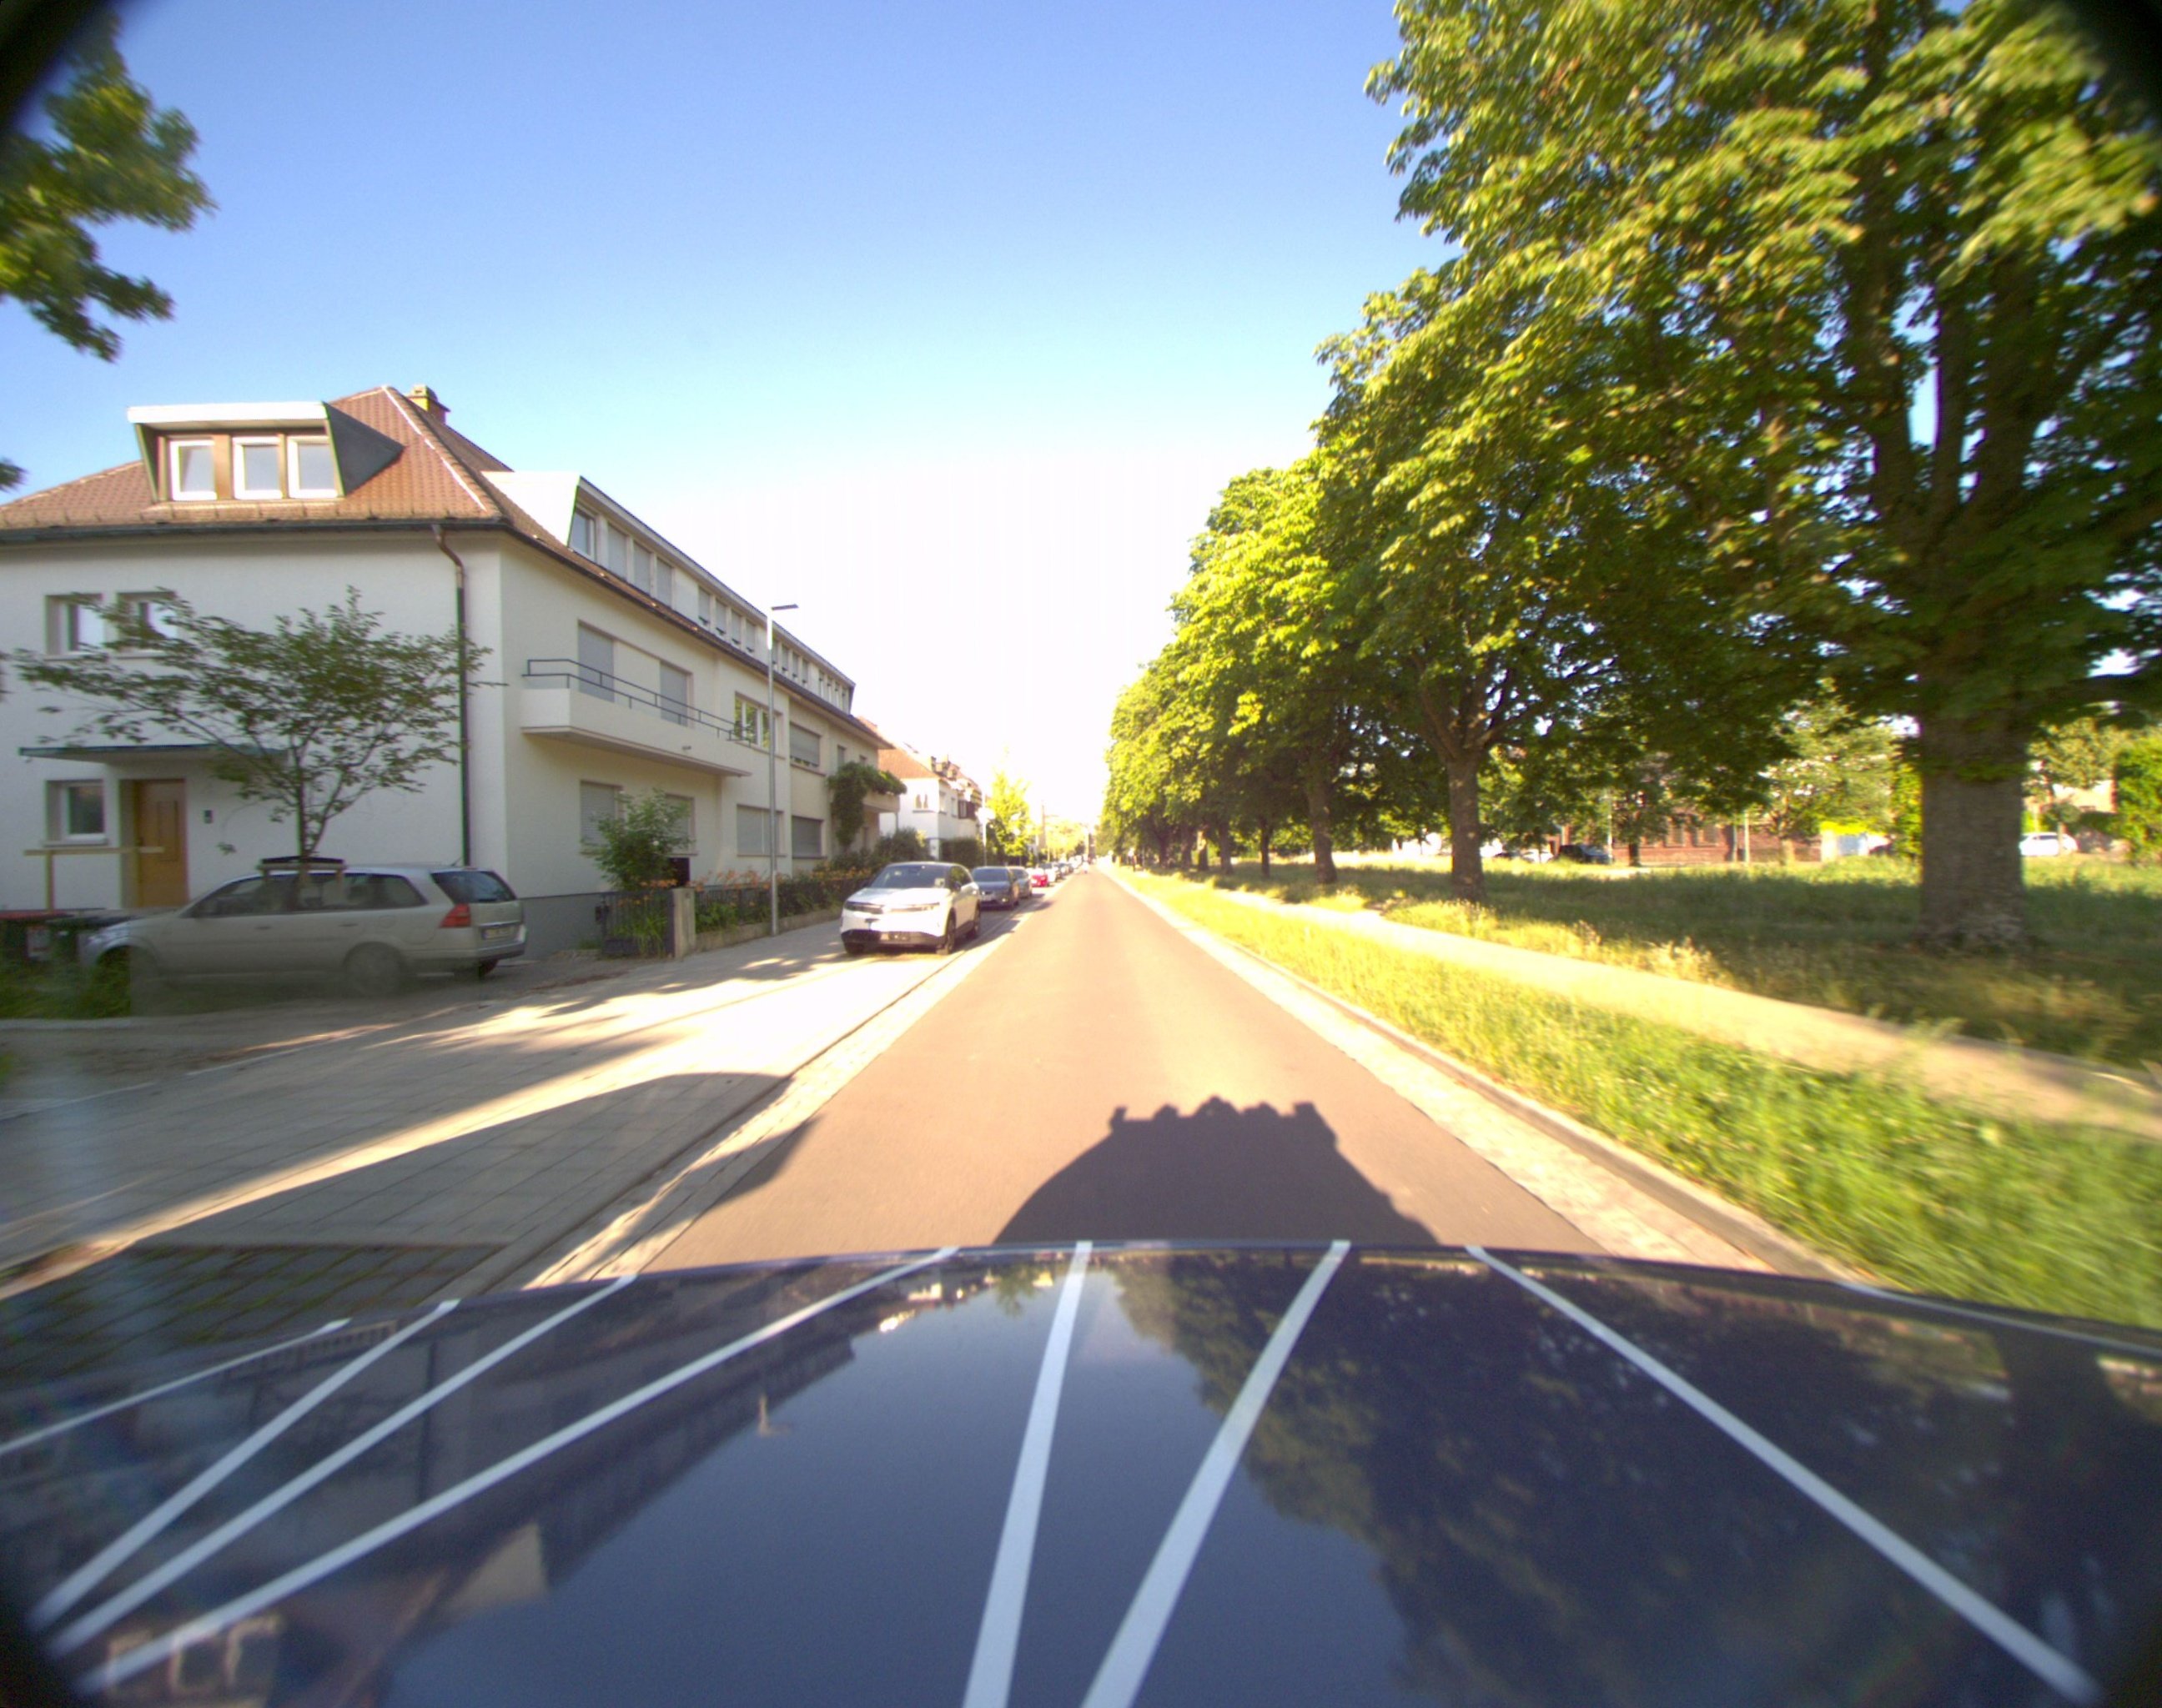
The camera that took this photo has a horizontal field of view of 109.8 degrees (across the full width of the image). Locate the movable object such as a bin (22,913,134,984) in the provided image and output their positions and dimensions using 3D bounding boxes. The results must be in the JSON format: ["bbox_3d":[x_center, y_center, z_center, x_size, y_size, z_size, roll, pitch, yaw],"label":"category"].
[{"bbox_3d":[-14.839,1.381,11.260,0.653,0.954,0.733,-2,0,1],"label":"movable object such as a bin"}]

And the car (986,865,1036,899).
[{"bbox_3d":[-3.026,1.196,33.562,1.798,1.372,4.079,1,-1,1],"label":"car"}]

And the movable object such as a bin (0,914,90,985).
[{"bbox_3d":[-15.510,1.407,11.254,0.653,0.954,0.733,-2,0,1],"label":"movable object such as a bin"}]

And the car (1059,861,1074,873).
[{"bbox_3d":[-1.932,1.741,103.192,1.844,1.471,3.764,-1,-1,1],"label":"car"}]

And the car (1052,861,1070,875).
[{"bbox_3d":[-2.182,1.510,83.029,1.665,1.526,3.833,0,0,2],"label":"car"}]

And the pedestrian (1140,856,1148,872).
[{"bbox_3d":[7.199,1.136,87.260,0.625,1.840,0.606,-2,1,40],"label":"pedestrian"}]

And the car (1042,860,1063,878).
[{"bbox_3d":[-2.496,1.296,67.251,1.746,1.471,4.057,-1,-1,0],"label":"car"}]

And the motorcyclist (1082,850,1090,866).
[{"bbox_3d":[0.591,0.515,95.153,0.961,2.002,1.274,-2,0,0],"label":"motorcyclist"}]

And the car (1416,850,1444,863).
[{"bbox_3d":[43.520,0.299,94.844,1.767,1.470,3.795,-2,0,0],"label":"car"}]

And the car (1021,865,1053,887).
[{"bbox_3d":[-2.710,1.328,47.406,1.702,1.250,3.880,0,0,1],"label":"car"}]

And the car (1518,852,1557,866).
[{"bbox_3d":[43.451,0.444,72.424,1.585,1.267,3.581,-2,0,1],"label":"car"}]

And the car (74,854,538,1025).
[{"bbox_3d":[-9.822,1.026,9.940,3.994,1.833,1.815,-2,-1,-5],"label":"car"}]

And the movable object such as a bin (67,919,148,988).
[{"bbox_3d":[-14.125,1.434,11.033,0.508,0.939,0.507,-2,0,1],"label":"movable object such as a bin"}]

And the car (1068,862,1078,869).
[{"bbox_3d":[-1.627,2.323,152.007,1.844,1.471,3.764,-1,-1,0],"label":"car"}]

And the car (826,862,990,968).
[{"bbox_3d":[-3.105,1.043,14.699,1.910,1.698,4.576,1,-1,2],"label":"car"}]

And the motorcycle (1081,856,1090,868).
[{"bbox_3d":[0.600,1.022,95.199,1.077,1.373,2.463,-2,0,0],"label":"motorcycle"}]

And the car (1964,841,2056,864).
[{"bbox_3d":[57.000,-0.098,46.658,3.636,1.272,1.586,-2,0,2],"label":"car"}]

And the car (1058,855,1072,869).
[{"bbox_3d":[-2.512,1.244,120.214,1.844,2.196,3.764,-1,-1,1],"label":"car"}]

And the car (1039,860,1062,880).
[{"bbox_3d":[-2.312,1.218,57.900,1.508,1.471,3.493,0,-1,1],"label":"car"}]

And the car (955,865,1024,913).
[{"bbox_3d":[-3.043,1.142,26.149,1.798,1.485,4.194,1,-1,1],"label":"car"}]

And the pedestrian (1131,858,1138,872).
[{"bbox_3d":[6.169,1.304,87.825,0.625,1.621,0.606,-2,1,27],"label":"pedestrian"}]

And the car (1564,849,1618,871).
[{"bbox_3d":[37.587,0.429,56.124,1.585,1.472,3.640,-2,0,1],"label":"car"}]
